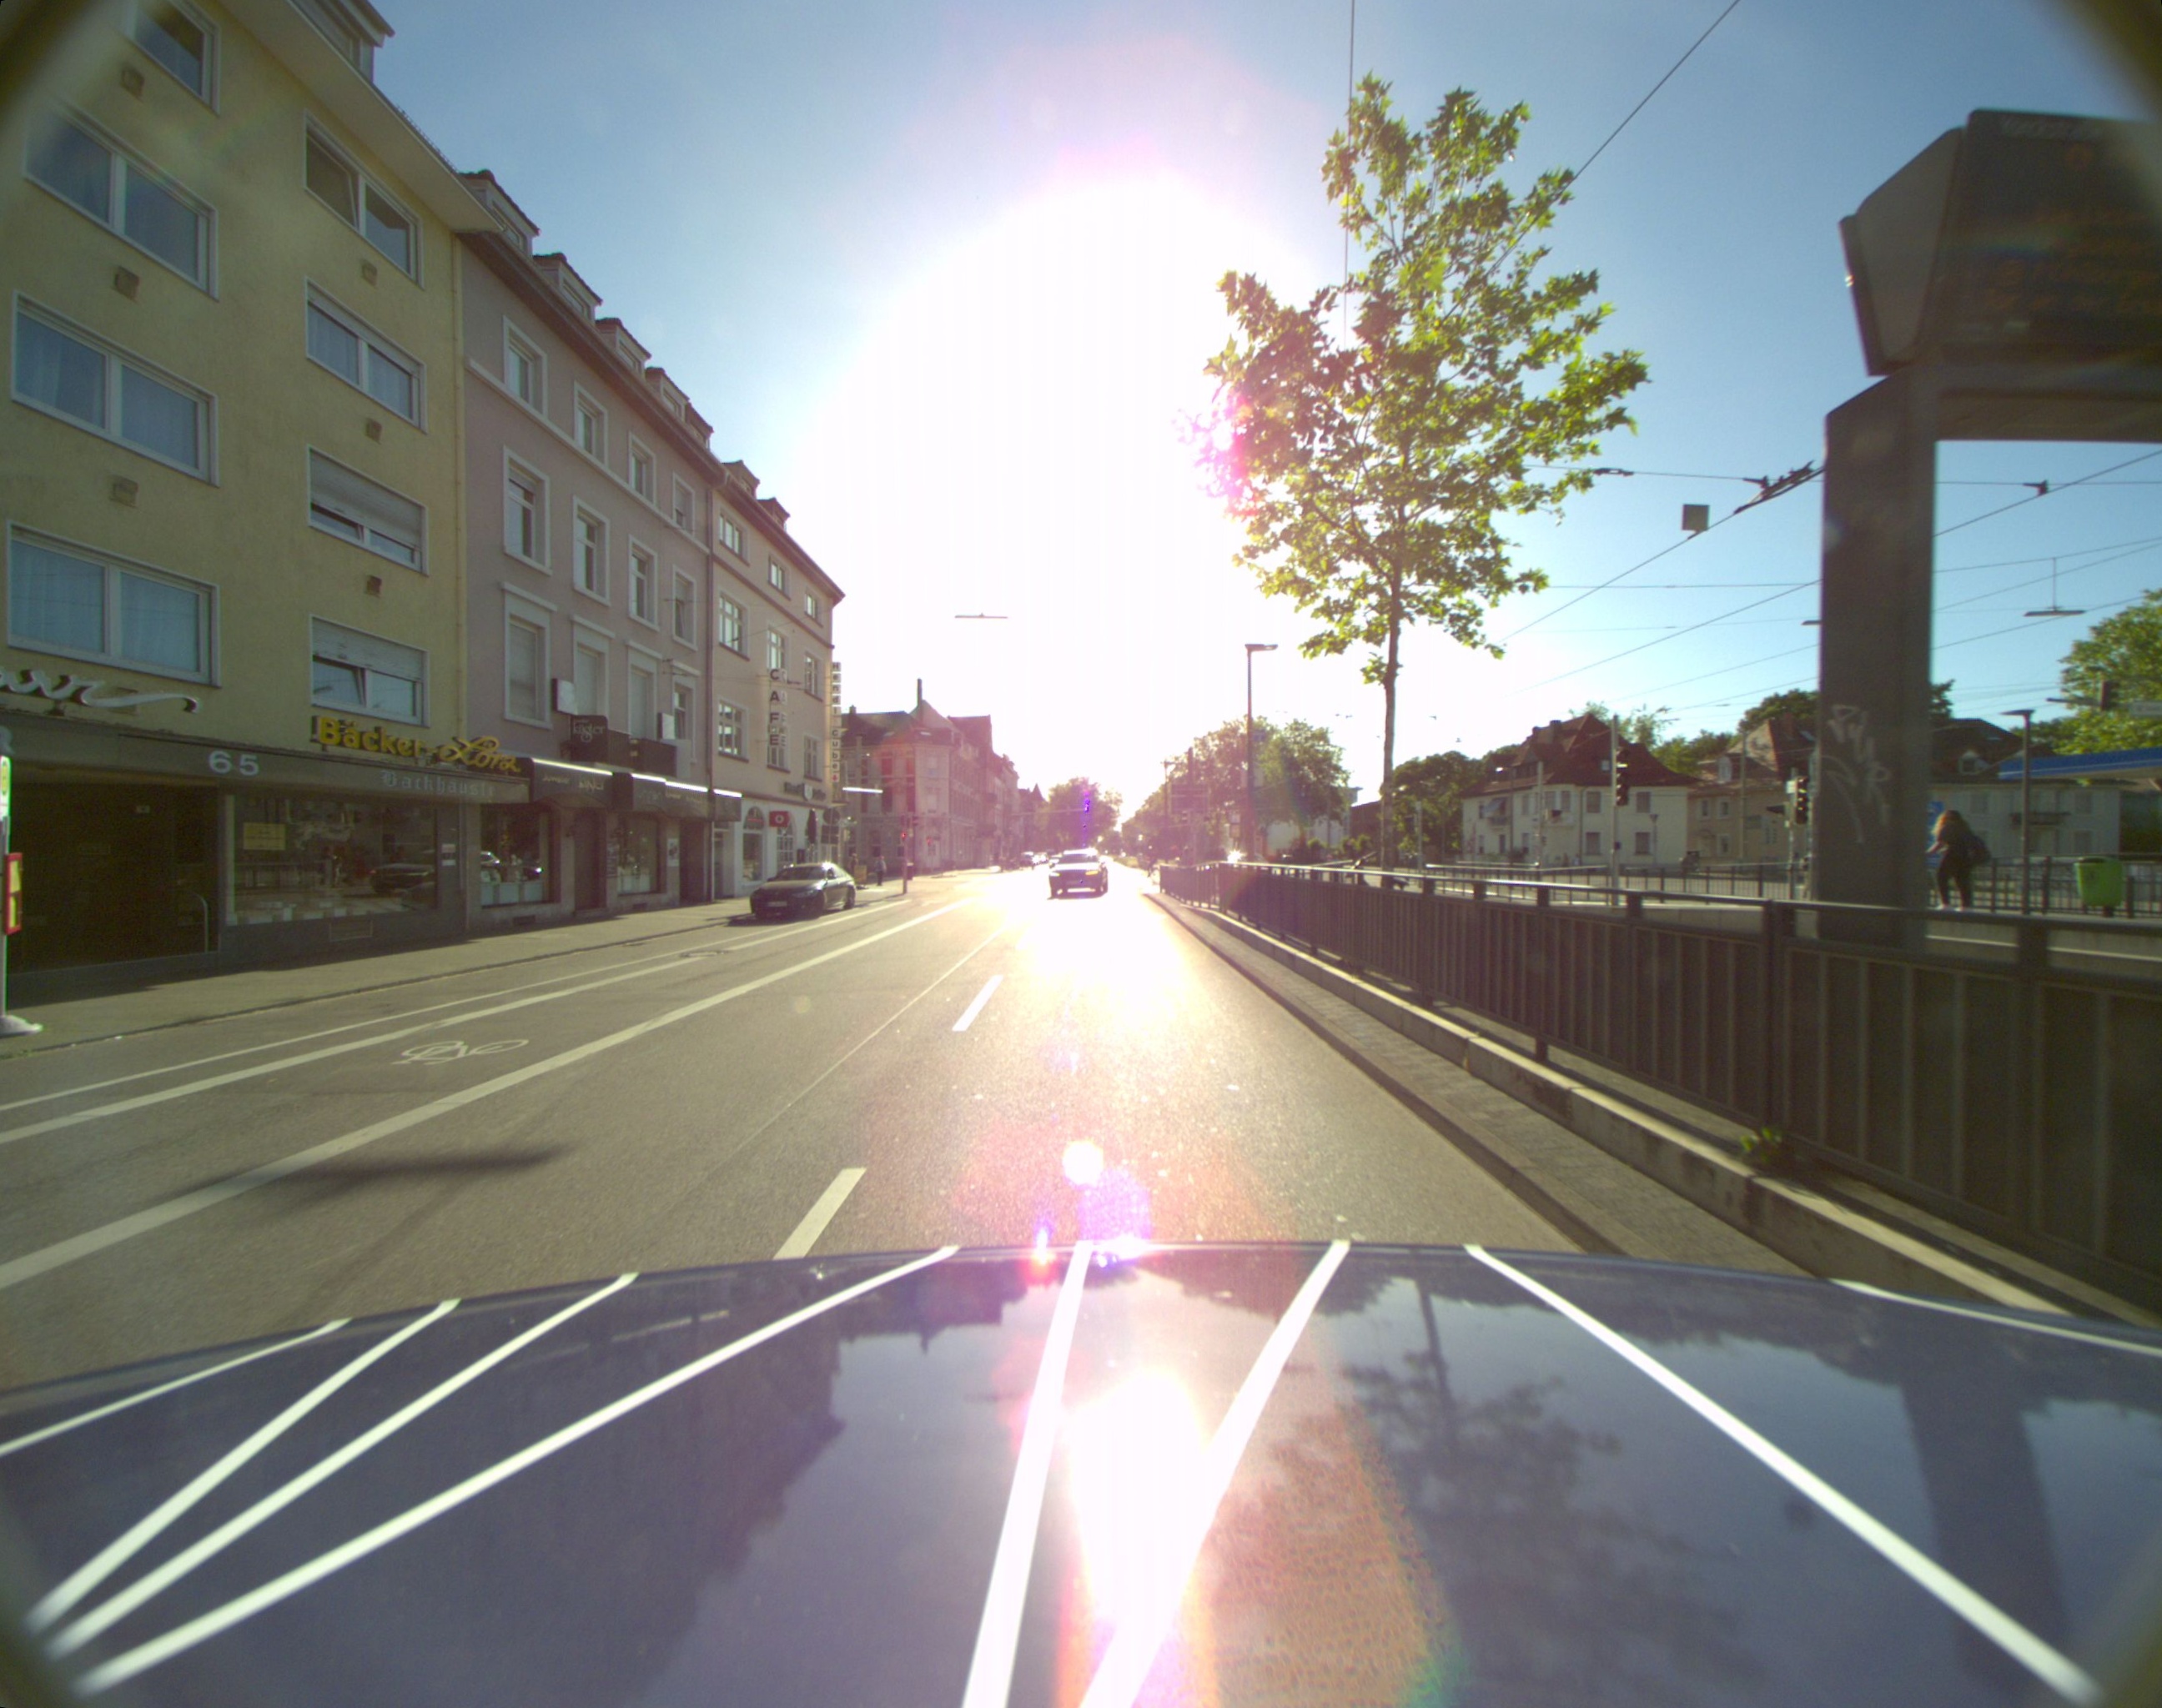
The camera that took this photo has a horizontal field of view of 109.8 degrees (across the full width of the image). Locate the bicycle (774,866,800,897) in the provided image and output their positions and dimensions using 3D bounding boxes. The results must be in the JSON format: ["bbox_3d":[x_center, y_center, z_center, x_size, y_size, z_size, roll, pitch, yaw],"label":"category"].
[{"bbox_3d":[-11.542,1.056,29.836,0.697,1.102,1.862,-1,1,-14],"label":"bicycle"}]

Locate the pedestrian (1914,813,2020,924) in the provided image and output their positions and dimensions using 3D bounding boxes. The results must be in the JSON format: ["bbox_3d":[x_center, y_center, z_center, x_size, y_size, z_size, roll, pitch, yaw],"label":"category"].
[{"bbox_3d":[13.080,0.202,11.241,0.686,1.583,0.735,0,1,1],"label":"pedestrian"}]

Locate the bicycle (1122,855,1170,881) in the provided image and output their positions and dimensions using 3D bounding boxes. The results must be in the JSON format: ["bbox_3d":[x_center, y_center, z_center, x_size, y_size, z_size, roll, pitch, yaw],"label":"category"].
[{"bbox_3d":[3.468,0.732,40.766,2.382,1.349,1.020,-1,1,-26],"label":"bicycle"}]

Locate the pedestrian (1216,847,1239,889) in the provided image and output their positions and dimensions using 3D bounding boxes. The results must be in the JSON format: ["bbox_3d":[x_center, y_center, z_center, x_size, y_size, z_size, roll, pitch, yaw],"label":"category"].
[{"bbox_3d":[5.983,0.554,30.990,0.803,1.680,1.008,0,1,4],"label":"pedestrian"}]

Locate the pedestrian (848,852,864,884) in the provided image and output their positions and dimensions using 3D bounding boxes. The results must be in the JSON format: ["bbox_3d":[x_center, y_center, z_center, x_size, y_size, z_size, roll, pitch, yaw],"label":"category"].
[{"bbox_3d":[-11.993,0.753,40.505,0.663,1.680,0.677,0,1,0],"label":"pedestrian"}]

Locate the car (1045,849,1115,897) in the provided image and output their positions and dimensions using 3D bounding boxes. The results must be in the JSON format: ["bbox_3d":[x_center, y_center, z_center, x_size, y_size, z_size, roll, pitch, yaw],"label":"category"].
[{"bbox_3d":[0.055,0.655,29.375,1.978,1.660,4.623,-1,1,9],"label":"car"}]

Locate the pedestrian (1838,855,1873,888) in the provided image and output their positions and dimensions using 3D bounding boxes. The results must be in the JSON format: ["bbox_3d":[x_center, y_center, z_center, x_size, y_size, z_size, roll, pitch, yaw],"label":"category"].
[{"bbox_3d":[35.862,0.794,35.199,0.768,1.475,0.800,0,1,-2],"label":"pedestrian"}]

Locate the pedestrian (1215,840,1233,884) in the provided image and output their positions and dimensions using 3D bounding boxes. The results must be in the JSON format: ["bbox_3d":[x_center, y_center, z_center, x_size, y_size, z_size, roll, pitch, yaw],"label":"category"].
[{"bbox_3d":[6.015,0.326,32.064,0.651,1.821,0.808,0,1,4],"label":"pedestrian"}]

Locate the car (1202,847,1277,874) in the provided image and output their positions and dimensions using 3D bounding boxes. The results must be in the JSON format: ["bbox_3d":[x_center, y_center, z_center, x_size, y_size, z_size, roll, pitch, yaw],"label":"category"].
[{"bbox_3d":[9.901,0.405,47.403,4.278,1.595,1.995,-1,1,-27],"label":"car"}]

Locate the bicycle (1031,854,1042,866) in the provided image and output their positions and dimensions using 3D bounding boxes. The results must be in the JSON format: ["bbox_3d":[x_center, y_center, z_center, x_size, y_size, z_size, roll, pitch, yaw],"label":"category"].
[{"bbox_3d":[-4.472,0.618,76.362,0.693,1.208,2.299,0,1,5],"label":"bicycle"}]

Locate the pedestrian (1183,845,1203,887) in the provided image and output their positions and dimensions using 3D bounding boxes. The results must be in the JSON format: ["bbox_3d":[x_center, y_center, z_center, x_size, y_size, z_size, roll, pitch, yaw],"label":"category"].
[{"bbox_3d":[4.583,0.476,31.158,0.743,1.680,0.776,0,1,4],"label":"pedestrian"}]

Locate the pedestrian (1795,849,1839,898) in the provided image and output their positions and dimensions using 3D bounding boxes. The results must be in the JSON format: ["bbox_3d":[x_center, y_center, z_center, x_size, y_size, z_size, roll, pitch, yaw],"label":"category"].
[{"bbox_3d":[25.287,0.657,26.116,0.653,1.680,0.826,0,1,-8],"label":"pedestrian"}]

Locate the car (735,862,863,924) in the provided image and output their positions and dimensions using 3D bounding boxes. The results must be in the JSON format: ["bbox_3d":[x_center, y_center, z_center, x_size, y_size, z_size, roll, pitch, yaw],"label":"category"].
[{"bbox_3d":[-7.902,1.028,21.824,1.904,1.421,4.715,-2,1,-1],"label":"car"}]

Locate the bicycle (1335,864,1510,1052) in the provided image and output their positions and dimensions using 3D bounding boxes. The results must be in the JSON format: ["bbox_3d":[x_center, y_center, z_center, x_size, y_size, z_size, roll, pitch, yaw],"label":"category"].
[{"bbox_3d":[2.934,0.802,6.811,0.641,1.371,2.169,0,1,2],"label":"bicycle"}]

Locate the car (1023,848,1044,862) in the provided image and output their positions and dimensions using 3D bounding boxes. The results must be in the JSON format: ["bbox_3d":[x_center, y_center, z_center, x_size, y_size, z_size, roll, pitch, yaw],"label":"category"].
[{"bbox_3d":[-6.145,0.098,98.964,2.295,1.717,4.594,0,1,3],"label":"car"}]

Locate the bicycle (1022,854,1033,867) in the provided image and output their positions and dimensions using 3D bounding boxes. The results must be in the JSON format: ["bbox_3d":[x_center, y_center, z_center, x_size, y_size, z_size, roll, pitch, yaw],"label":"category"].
[{"bbox_3d":[-5.378,0.628,76.011,0.693,1.208,2.299,0,1,5],"label":"bicycle"}]

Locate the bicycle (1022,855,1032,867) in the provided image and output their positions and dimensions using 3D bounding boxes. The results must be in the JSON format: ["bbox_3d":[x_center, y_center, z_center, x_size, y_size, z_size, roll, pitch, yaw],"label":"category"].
[{"bbox_3d":[-5.577,0.678,79.004,0.693,1.208,2.299,0,1,5],"label":"bicycle"}]

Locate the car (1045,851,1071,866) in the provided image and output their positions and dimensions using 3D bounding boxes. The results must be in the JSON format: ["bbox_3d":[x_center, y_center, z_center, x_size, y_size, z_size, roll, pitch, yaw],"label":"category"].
[{"bbox_3d":[-2.432,0.448,82.037,2.294,1.566,4.595,0,1,5],"label":"car"}]

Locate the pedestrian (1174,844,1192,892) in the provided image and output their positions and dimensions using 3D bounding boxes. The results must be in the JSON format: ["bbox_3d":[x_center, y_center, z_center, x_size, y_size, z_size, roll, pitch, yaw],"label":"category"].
[{"bbox_3d":[3.941,0.540,29.534,0.637,1.817,0.776,0,1,4],"label":"pedestrian"}]

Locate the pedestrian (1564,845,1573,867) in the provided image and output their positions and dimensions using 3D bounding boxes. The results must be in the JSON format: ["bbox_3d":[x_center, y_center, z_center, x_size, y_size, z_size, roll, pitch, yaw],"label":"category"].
[{"bbox_3d":[38.814,0.158,60.518,0.417,1.733,0.409,0,1,0],"label":"pedestrian"}]

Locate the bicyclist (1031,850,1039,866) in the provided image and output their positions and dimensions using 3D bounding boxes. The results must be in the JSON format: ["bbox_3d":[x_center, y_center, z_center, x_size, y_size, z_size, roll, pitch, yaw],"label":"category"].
[{"bbox_3d":[-4.657,0.381,77.279,0.696,1.596,0.745,0,1,5],"label":"bicyclist"}]

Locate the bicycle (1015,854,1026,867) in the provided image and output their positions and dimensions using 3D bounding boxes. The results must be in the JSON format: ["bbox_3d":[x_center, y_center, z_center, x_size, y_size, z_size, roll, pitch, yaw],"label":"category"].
[{"bbox_3d":[-6.090,0.657,76.735,0.693,1.208,2.299,0,1,5],"label":"bicycle"}]

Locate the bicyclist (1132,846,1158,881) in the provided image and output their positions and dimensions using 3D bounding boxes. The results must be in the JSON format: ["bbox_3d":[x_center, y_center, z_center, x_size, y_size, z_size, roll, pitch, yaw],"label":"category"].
[{"bbox_3d":[3.424,0.490,40.731,1.005,1.872,0.991,-1,1,-26],"label":"bicyclist"}]

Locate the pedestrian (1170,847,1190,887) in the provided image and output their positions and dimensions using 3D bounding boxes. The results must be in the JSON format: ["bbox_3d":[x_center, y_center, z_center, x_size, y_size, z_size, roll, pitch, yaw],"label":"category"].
[{"bbox_3d":[4.222,0.534,32.543,0.799,1.680,0.776,0,1,4],"label":"pedestrian"}]

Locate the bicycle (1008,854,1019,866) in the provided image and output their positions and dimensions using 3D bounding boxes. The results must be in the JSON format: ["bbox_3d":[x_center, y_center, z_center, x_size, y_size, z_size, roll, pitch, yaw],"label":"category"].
[{"bbox_3d":[-6.808,0.591,76.692,0.693,1.208,2.299,0,1,5],"label":"bicycle"}]

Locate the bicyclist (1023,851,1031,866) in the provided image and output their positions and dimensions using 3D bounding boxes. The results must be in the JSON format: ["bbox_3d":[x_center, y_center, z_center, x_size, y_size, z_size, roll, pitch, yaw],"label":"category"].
[{"bbox_3d":[-5.571,0.462,78.936,0.696,1.596,0.745,0,1,5],"label":"bicyclist"}]

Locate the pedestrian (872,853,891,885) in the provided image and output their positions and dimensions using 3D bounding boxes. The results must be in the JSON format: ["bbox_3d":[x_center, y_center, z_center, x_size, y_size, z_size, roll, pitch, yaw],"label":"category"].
[{"bbox_3d":[-10.603,0.789,40.311,0.775,1.680,0.800,-1,-1,0],"label":"pedestrian"}]
